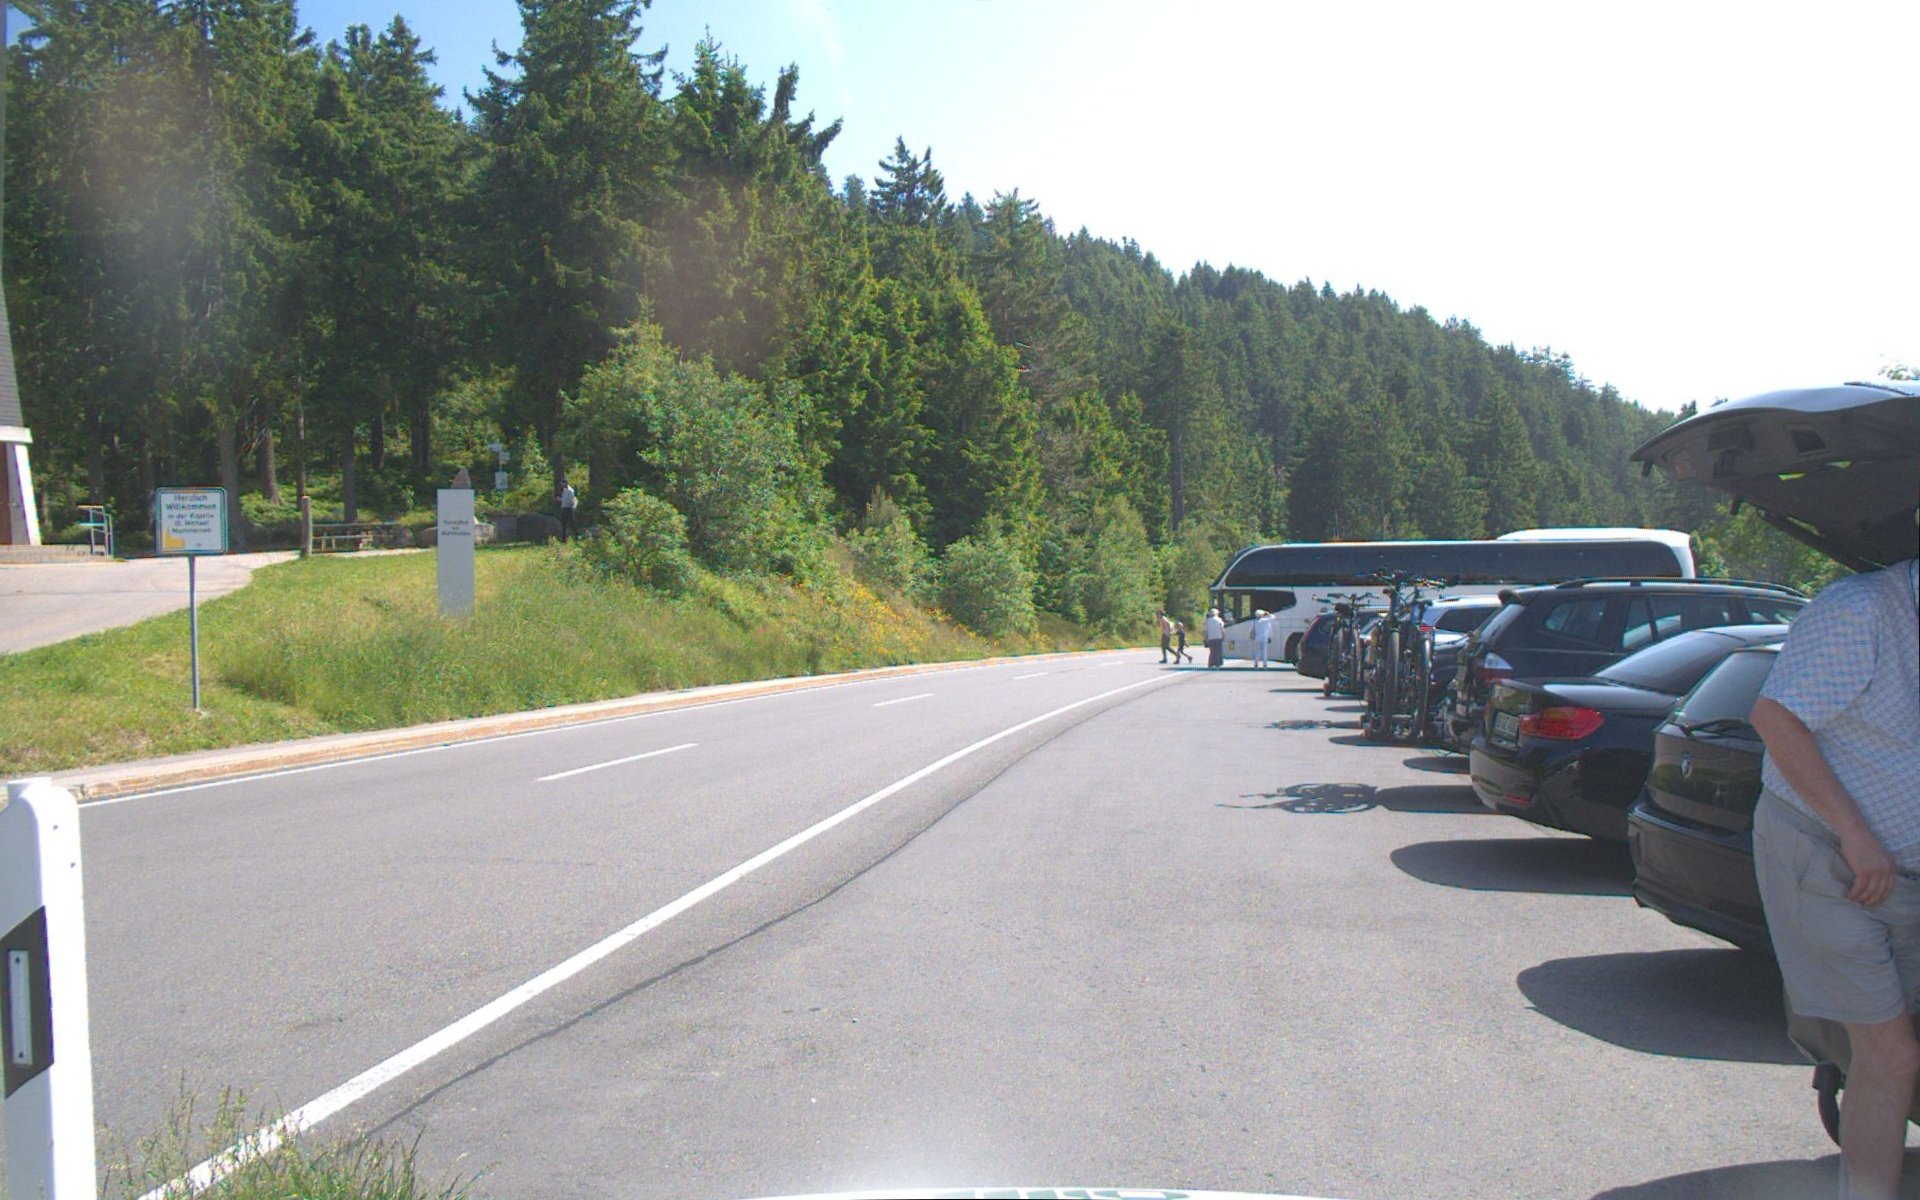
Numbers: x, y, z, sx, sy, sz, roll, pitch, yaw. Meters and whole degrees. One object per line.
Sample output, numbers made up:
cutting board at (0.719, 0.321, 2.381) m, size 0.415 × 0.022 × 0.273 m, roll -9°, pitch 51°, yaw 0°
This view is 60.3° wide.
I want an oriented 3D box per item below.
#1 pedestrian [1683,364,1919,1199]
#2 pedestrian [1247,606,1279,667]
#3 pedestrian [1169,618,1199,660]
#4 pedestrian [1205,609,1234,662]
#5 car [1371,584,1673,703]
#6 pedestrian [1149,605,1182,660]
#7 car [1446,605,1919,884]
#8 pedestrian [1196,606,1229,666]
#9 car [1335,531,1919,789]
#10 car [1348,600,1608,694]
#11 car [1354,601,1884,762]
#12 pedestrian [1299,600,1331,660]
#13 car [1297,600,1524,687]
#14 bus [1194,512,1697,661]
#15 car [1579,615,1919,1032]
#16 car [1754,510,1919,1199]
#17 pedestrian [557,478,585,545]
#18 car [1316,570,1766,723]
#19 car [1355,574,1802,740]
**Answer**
pedestrian at (2.013, 0.496, 3.451) m, size 0.724 × 1.903 × 0.754 m, roll 2°, pitch 2°, yaw 40°
pedestrian at (8.239, 0.987, 44.971) m, size 0.754 × 1.613 × 0.773 m, roll -2°, pitch -1°, yaw 16°
pedestrian at (7.046, 1.225, 52.080) m, size 0.720 × 1.302 × 0.782 m, roll -1°, pitch -1°, yaw -8°
pedestrian at (8.181, 1.111, 52.165) m, size 0.835 × 1.613 × 0.819 m, roll -2°, pitch -1°, yaw 9°
car at (8.071, 0.620, 24.053) m, size 3.902 × 1.581 × 1.661 m, roll -2°, pitch -1°, yaw 10°
pedestrian at (6.560, 1.035, 52.884) m, size 0.837 × 1.713 × 0.869 m, roll -1°, pitch -1°, yaw -5°
car at (4.997, 0.774, 9.405) m, size 3.996 × 1.400 × 1.703 m, roll 1°, pitch 0°, yaw 3°
pedestrian at (6.930, 0.984, 45.428) m, size 0.754 × 1.613 × 0.773 m, roll -2°, pitch -1°, yaw 16°
car at (5.310, 0.430, 12.334) m, size 4.843 × 1.725 × 1.947 m, roll -1°, pitch 0°, yaw 12°
car at (8.515, 0.763, 27.464) m, size 3.902 × 1.423 × 1.621 m, roll -2°, pitch -1°, yaw 10°
car at (5.793, 0.713, 15.051) m, size 4.153 × 1.291 × 1.840 m, roll -2°, pitch -1°, yaw 10°
pedestrian at (9.644, 0.805, 44.923) m, size 0.754 × 1.613 × 0.773 m, roll -2°, pitch -1°, yaw 18°
car at (8.326, 0.795, 30.900) m, size 3.902 × 1.474 × 1.863 m, roll -2°, pitch -1°, yaw 10°
bus at (13.145, -0.269, 45.597) m, size 12.821 × 3.594 × 3.044 m, roll -2°, pitch -1°, yaw 20°
car at (4.744, 0.804, 6.479) m, size 3.997 × 1.400 × 1.702 m, roll 1°, pitch 0°, yaw 0°
car at (4.310, 0.701, 3.579) m, size 4.253 × 1.654 × 1.871 m, roll 2°, pitch -1°, yaw 4°
pedestrian at (-11.325, -2.578, 48.149) m, size 0.667 × 1.910 × 0.541 m, roll -2°, pitch -1°, yaw -5°
car at (6.981, 0.564, 20.434) m, size 4.926 × 1.680 × 2.049 m, roll -2°, pitch -1°, yaw 10°
car at (6.430, 0.595, 17.641) m, size 4.153 × 1.581 × 1.840 m, roll -2°, pitch -1°, yaw 10°
